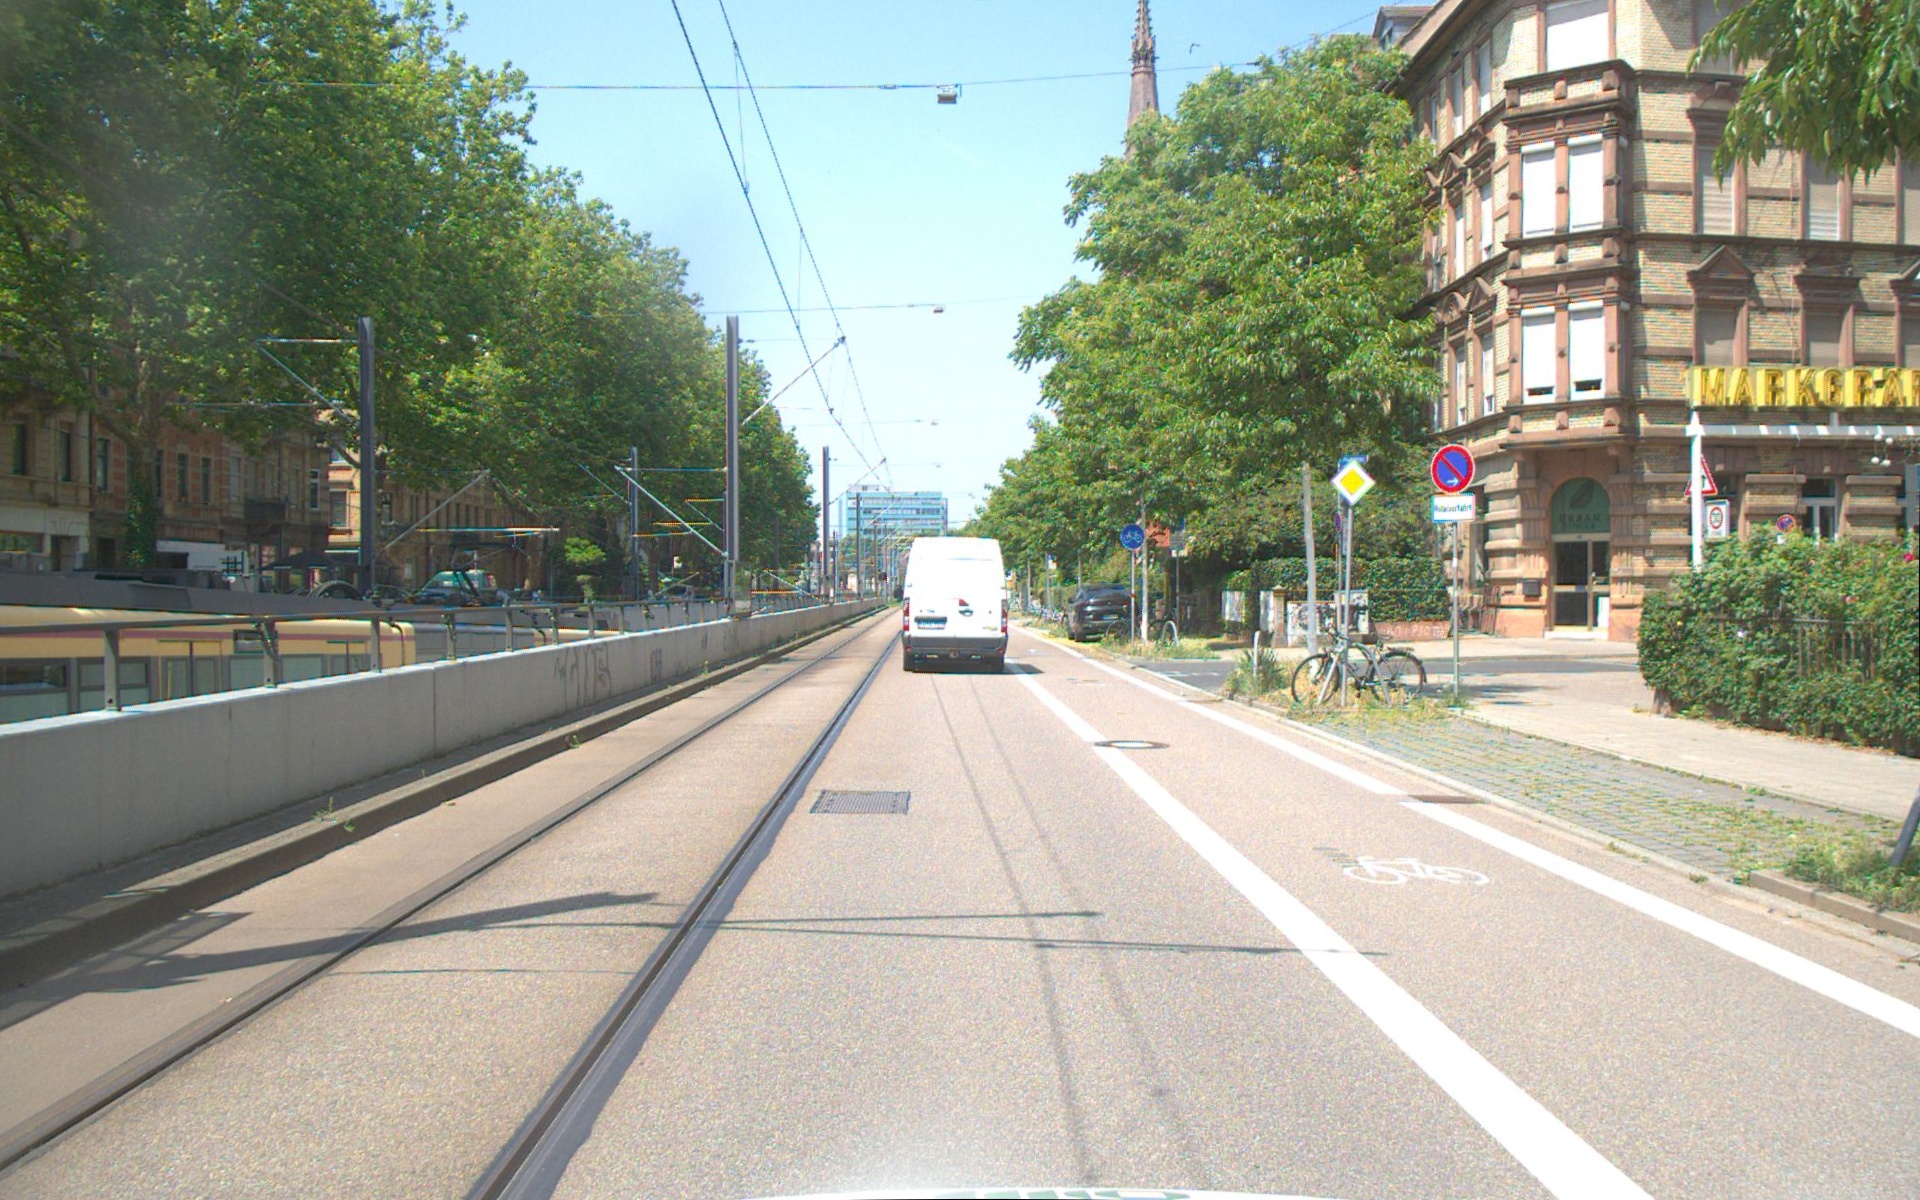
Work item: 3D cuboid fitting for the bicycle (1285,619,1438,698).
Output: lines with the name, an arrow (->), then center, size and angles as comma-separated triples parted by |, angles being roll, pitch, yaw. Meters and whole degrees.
bicycle -> 5.066, 0.734, 20.923 | 1.804, 0.970, 0.503 | 0, 0, 0

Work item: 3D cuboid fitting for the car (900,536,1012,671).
car -> -0.110, 0.046, 33.174 | 2.074, 2.502, 5.053 | 0, 0, -1

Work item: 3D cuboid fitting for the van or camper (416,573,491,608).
van or camper -> -30.171, -0.588, 98.555 | 3.908, 2.049, 1.999 | 0, 0, -4

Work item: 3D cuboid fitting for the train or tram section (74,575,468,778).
train or tram section -> -9.894, 0.936, 24.898 | 2.673, 2.552, 8.002 | 0, 0, -1

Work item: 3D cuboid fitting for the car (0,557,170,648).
car -> -19.698, 0.044, 37.225 | 1.953, 1.937, 4.147 | 0, 0, -2

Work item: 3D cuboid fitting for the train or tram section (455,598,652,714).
train or tram section -> -10.131, 1.250, 42.409 | 2.673, 2.552, 10.087 | 0, 0, -1

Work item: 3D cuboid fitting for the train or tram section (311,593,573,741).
train or tram section -> -10.021, 1.152, 33.105 | 2.673, 2.552, 8.489 | 0, 0, -1

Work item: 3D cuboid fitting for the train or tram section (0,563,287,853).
train or tram section -> -9.802, 0.929, 16.637 | 2.673, 2.552, 8.515 | 0, 0, -1

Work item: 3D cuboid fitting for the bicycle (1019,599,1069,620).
bicycle -> 3.634, 0.383, 70.832 | 1.526, 0.841, 4.004 | 0, 0, 12

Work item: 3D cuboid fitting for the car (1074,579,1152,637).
car -> 4.652, 0.214, 50.768 | 2.112, 1.699, 4.001 | 0, 0, 1

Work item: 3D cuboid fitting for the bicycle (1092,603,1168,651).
bicycle -> 4.342, 0.686, 42.297 | 1.850, 1.202, 0.640 | 0, 0, -3
